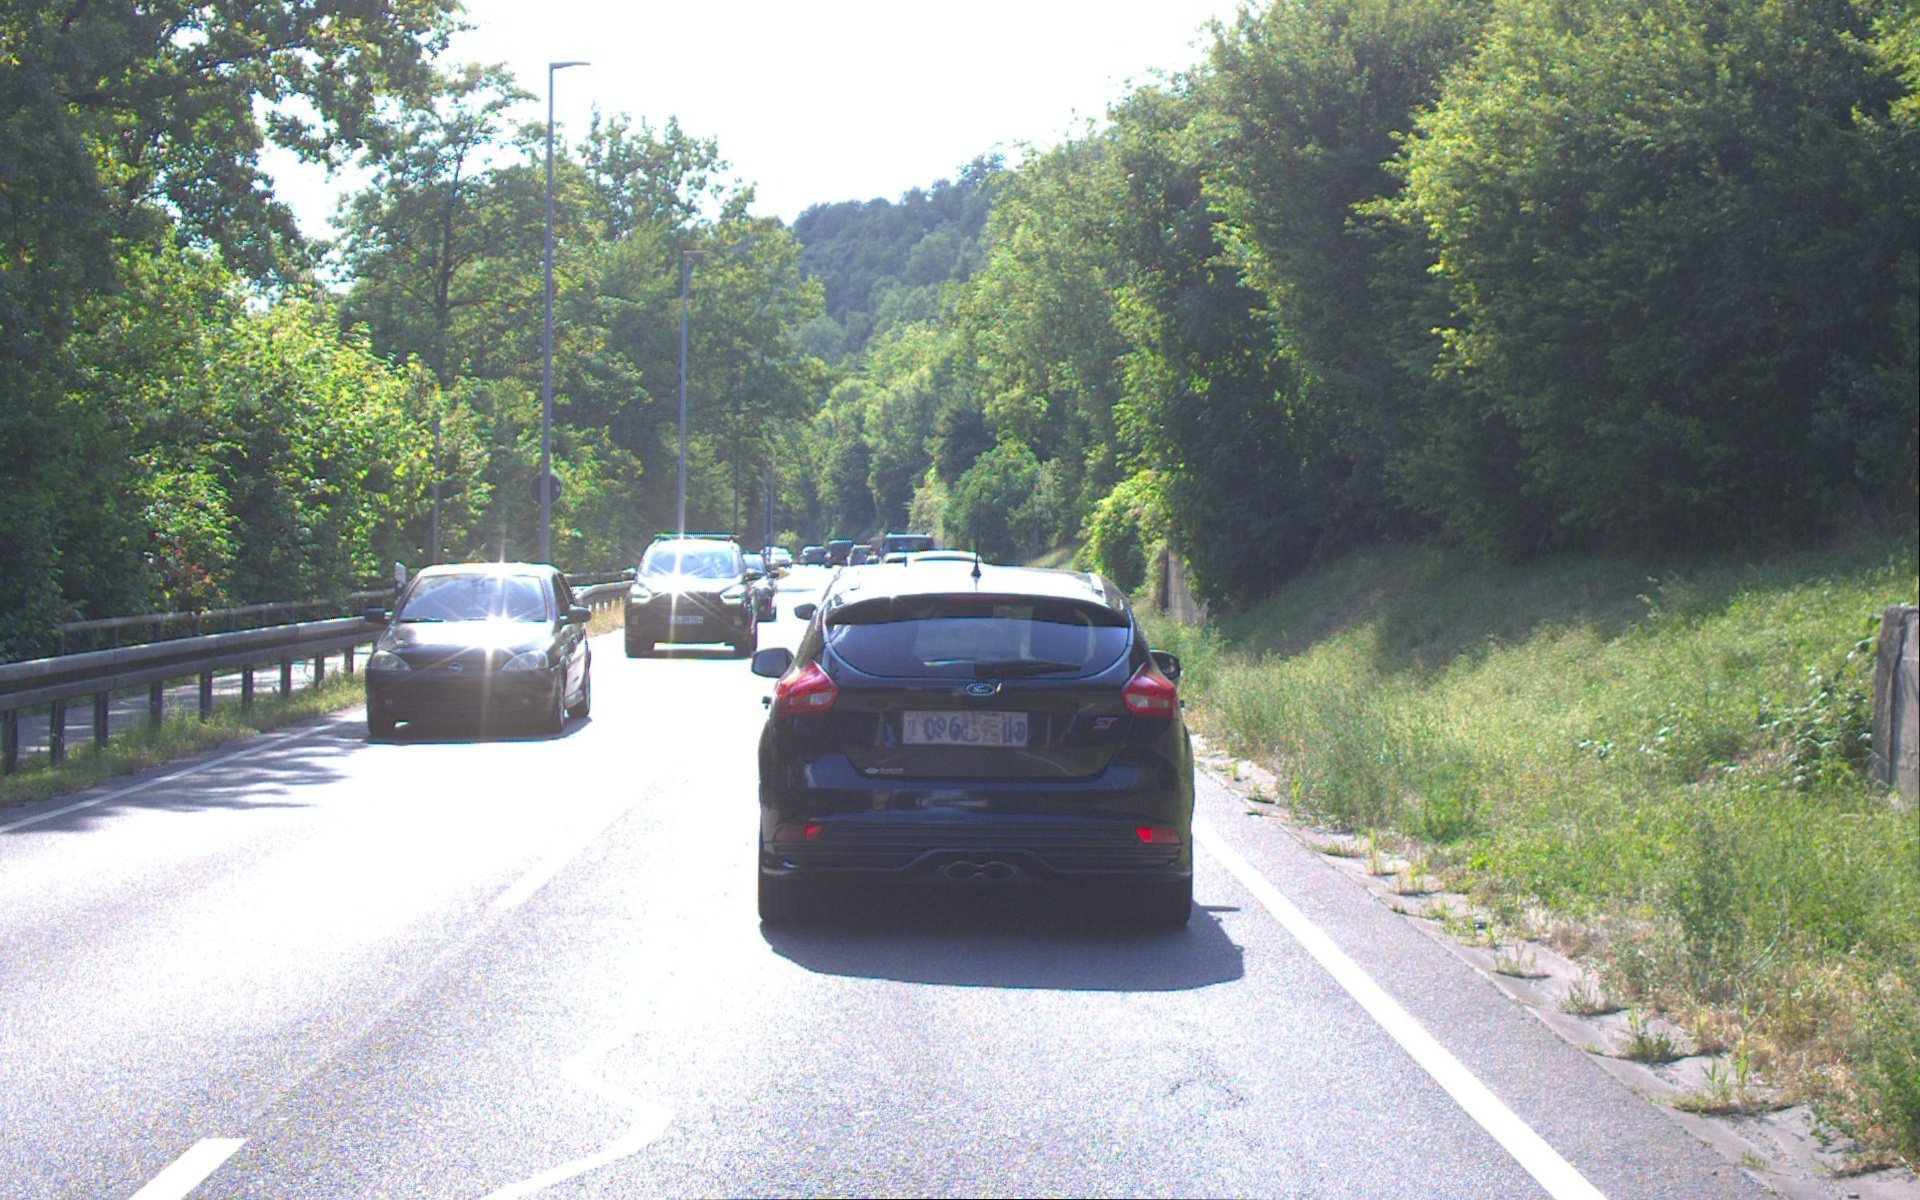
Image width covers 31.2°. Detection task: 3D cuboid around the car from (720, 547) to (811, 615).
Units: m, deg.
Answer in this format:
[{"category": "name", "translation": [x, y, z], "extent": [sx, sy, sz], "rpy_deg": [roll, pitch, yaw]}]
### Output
[{"category": "car", "translation": [-4.196, -0.434, 74.678], "extent": [1.691, 1.415, 4.142], "rpy_deg": [-1, 1, 0]}]

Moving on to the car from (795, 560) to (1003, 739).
[{"category": "car", "translation": [-0.466, 0.375, 29.620], "extent": [1.661, 1.413, 4.000], "rpy_deg": [0, 1, 1]}]

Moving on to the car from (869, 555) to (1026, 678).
[{"category": "car", "translation": [-0.163, 0.162, 41.454], "extent": [1.804, 1.387, 4.000], "rpy_deg": [0, 1, -1]}]

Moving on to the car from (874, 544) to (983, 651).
[{"category": "car", "translation": [-0.492, -0.065, 53.351], "extent": [1.631, 1.590, 4.000], "rpy_deg": [0, 1, -1]}]

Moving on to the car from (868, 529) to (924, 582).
[{"category": "car", "translation": [-2.211, -1.540, 118.625], "extent": [1.863, 1.774, 4.000], "rpy_deg": [0, 1, -2]}]

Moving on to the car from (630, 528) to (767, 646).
[{"category": "car", "translation": [-3.939, -0.221, 52.341], "extent": [1.748, 1.712, 4.221], "rpy_deg": [0, 1, 0]}]

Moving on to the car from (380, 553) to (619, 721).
[{"category": "car", "translation": [-4.173, 0.292, 31.685], "extent": [1.681, 1.437, 4.000], "rpy_deg": [0, 1, 0]}]

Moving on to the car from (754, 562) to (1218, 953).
[{"category": "car", "translation": [0.078, 0.581, 15.180], "extent": [1.739, 1.451, 4.000], "rpy_deg": [2, 1, -1]}]

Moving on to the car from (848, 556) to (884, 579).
[{"category": "car", "translation": [-6.379, -2.221, 233.189], "extent": [1.993, 1.514, 4.001], "rpy_deg": [0, 1, -8]}]

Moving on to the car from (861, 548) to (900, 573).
[{"category": "car", "translation": [-4.913, -2.451, 212.290], "extent": [1.993, 1.514, 4.001], "rpy_deg": [0, 1, -8]}]

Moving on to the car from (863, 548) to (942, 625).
[{"category": "car", "translation": [-1.203, -0.310, 72.741], "extent": [1.631, 1.590, 4.000], "rpy_deg": [0, 1, -1]}]

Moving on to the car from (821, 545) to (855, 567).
[{"category": "car", "translation": [-8.754, -3.162, 246.456], "extent": [1.993, 1.514, 4.001], "rpy_deg": [0, 1, -8]}]
